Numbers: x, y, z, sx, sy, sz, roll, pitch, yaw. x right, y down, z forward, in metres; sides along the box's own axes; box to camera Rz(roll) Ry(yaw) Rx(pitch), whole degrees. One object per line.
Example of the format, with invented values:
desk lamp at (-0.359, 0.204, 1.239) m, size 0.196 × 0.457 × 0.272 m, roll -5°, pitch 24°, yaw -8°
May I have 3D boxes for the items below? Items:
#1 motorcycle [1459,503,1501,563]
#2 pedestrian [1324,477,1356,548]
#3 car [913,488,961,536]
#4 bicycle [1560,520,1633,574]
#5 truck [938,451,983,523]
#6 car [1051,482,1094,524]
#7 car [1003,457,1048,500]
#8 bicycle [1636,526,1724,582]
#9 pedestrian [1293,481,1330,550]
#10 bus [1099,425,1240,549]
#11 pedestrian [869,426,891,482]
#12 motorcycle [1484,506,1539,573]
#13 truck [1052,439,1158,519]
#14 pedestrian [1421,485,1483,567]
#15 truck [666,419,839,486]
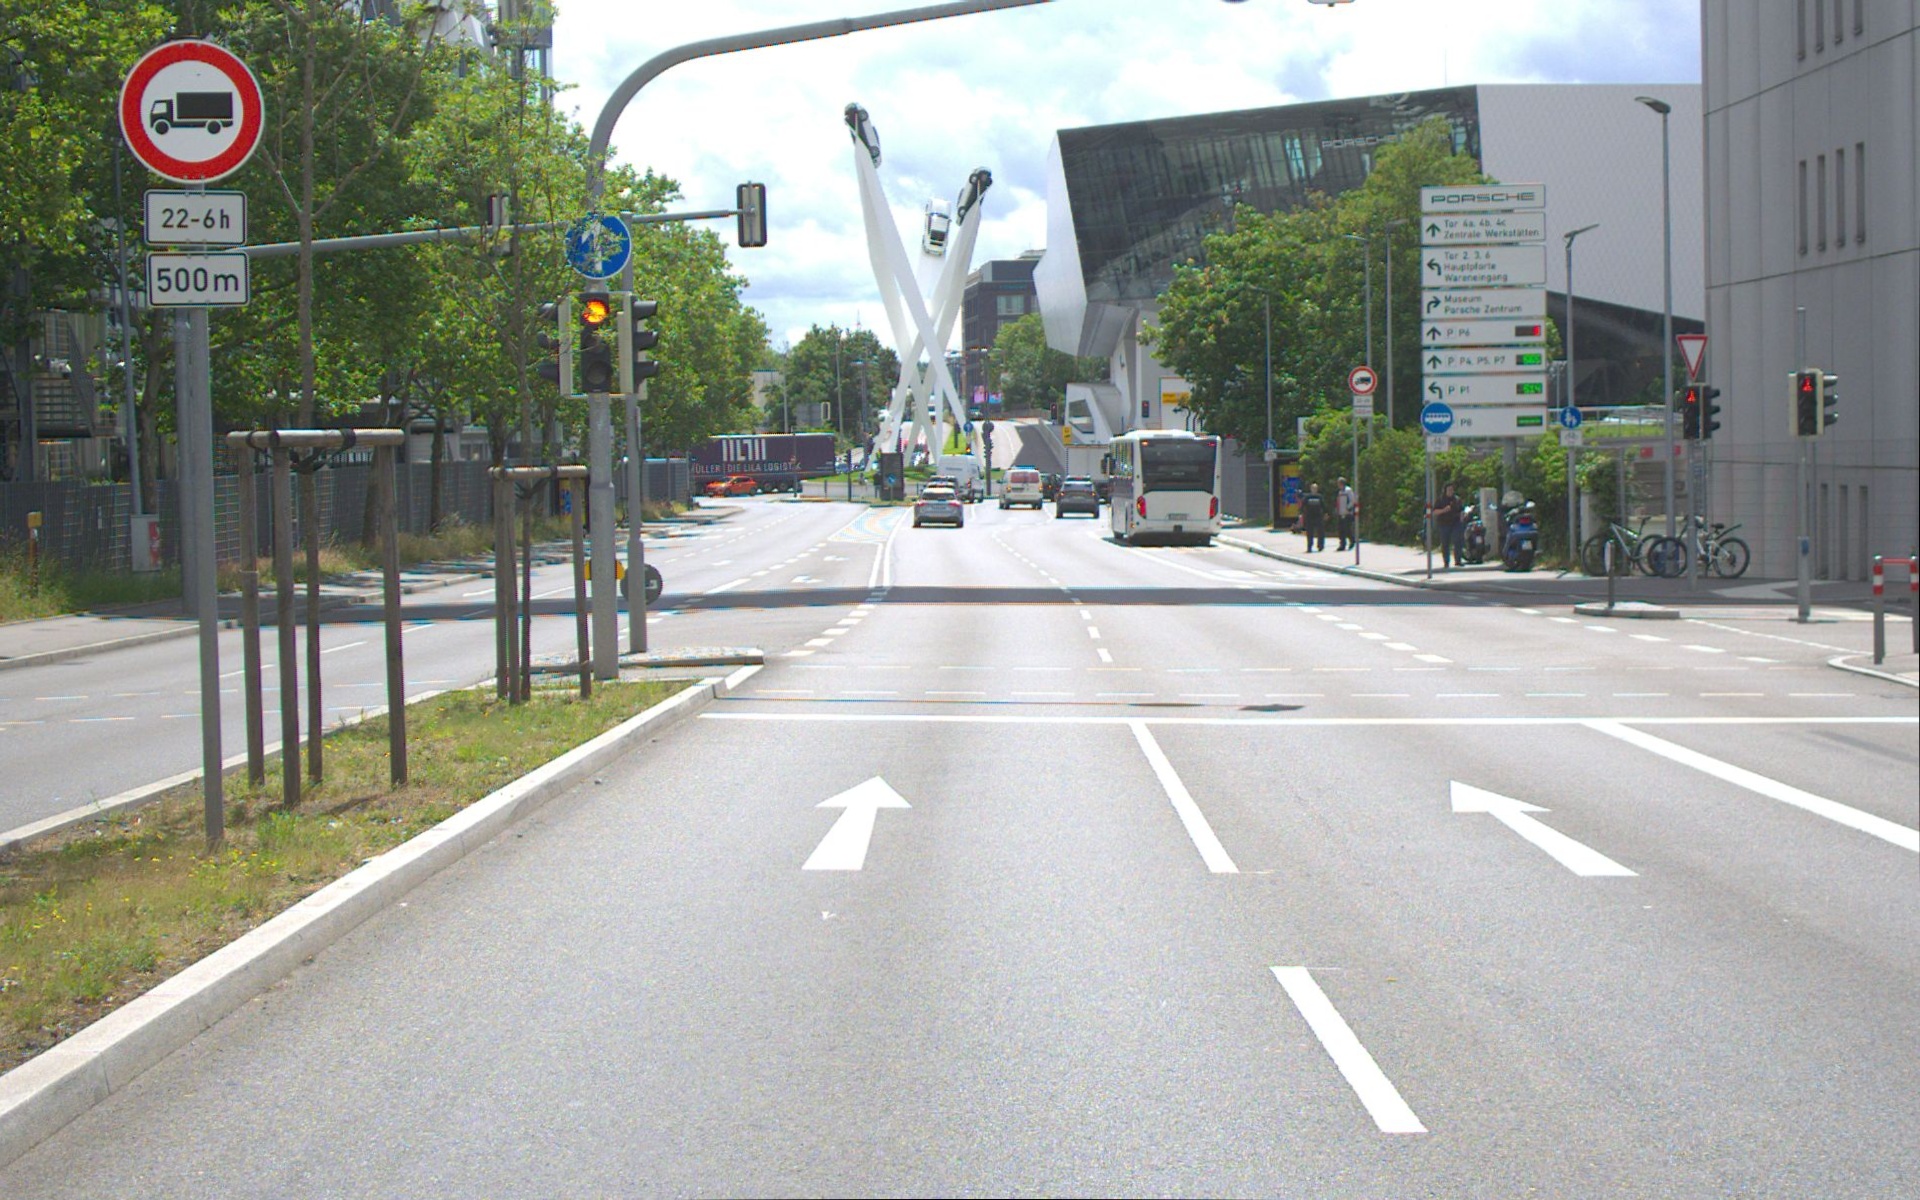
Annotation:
motorcycle at (10.998, -1.427, 72.755) m, size 0.574 × 1.199 × 2.024 m, roll -2°, pitch 2°, yaw 0°
pedestrian at (9.371, -2.167, 84.830) m, size 0.635 × 1.735 × 0.823 m, roll 0°, pitch 1°, yaw -5°
car at (-0.834, -3.268, 127.364) m, size 1.738 × 1.735 × 3.691 m, roll 0°, pitch 2°, yaw 0°
bicycle at (11.316, -0.947, 61.191) m, size 0.397 × 0.933 × 1.929 m, roll 0°, pitch 2°, yaw -18°
truck at (0.047, -6.222, 189.109) m, size 2.392 × 3.884 × 6.177 m, roll 0°, pitch 2°, yaw 0°
car at (4.802, -4.149, 147.100) m, size 1.738 × 1.735 × 3.691 m, roll 0°, pitch 2°, yaw 0°
car at (3.274, -6.077, 171.776) m, size 1.993 × 2.007 × 4.000 m, roll 1°, pitch 0°, yaw -2°
bicycle at (12.324, -0.800, 58.889) m, size 0.397 × 0.933 × 1.929 m, roll 0°, pitch 2°, yaw -25°
pedestrian at (8.722, -2.099, 85.294) m, size 0.820 × 1.701 × 0.881 m, roll 0°, pitch 1°, yaw 0°
bus at (6.202, -3.381, 103.655) m, size 3.452 × 3.531 × 10.607 m, roll 0°, pitch 2°, yaw -1°
pedestrian at (-5.139, -9.361, 221.066) m, size 1.416 × 3.587 × 1.283 m, roll 0°, pitch 1°, yaw -1°
motorcycle at (10.428, -1.156, 65.060) m, size 0.706 × 1.199 × 2.024 m, roll -2°, pitch 2°, yaw 0°
truck at (8.143, -6.719, 191.672) m, size 3.455 × 4.376 × 9.412 m, roll 1°, pitch 2°, yaw 18°
pedestrian at (9.876, -1.488, 69.000) m, size 0.849 × 1.619 × 0.954 m, roll 1°, pitch 2°, yaw 42°
truck at (-14.865, -10.571, 246.881) m, size 12.128 × 4.309 × 3.574 m, roll 1°, pitch 0°, yaw -33°
